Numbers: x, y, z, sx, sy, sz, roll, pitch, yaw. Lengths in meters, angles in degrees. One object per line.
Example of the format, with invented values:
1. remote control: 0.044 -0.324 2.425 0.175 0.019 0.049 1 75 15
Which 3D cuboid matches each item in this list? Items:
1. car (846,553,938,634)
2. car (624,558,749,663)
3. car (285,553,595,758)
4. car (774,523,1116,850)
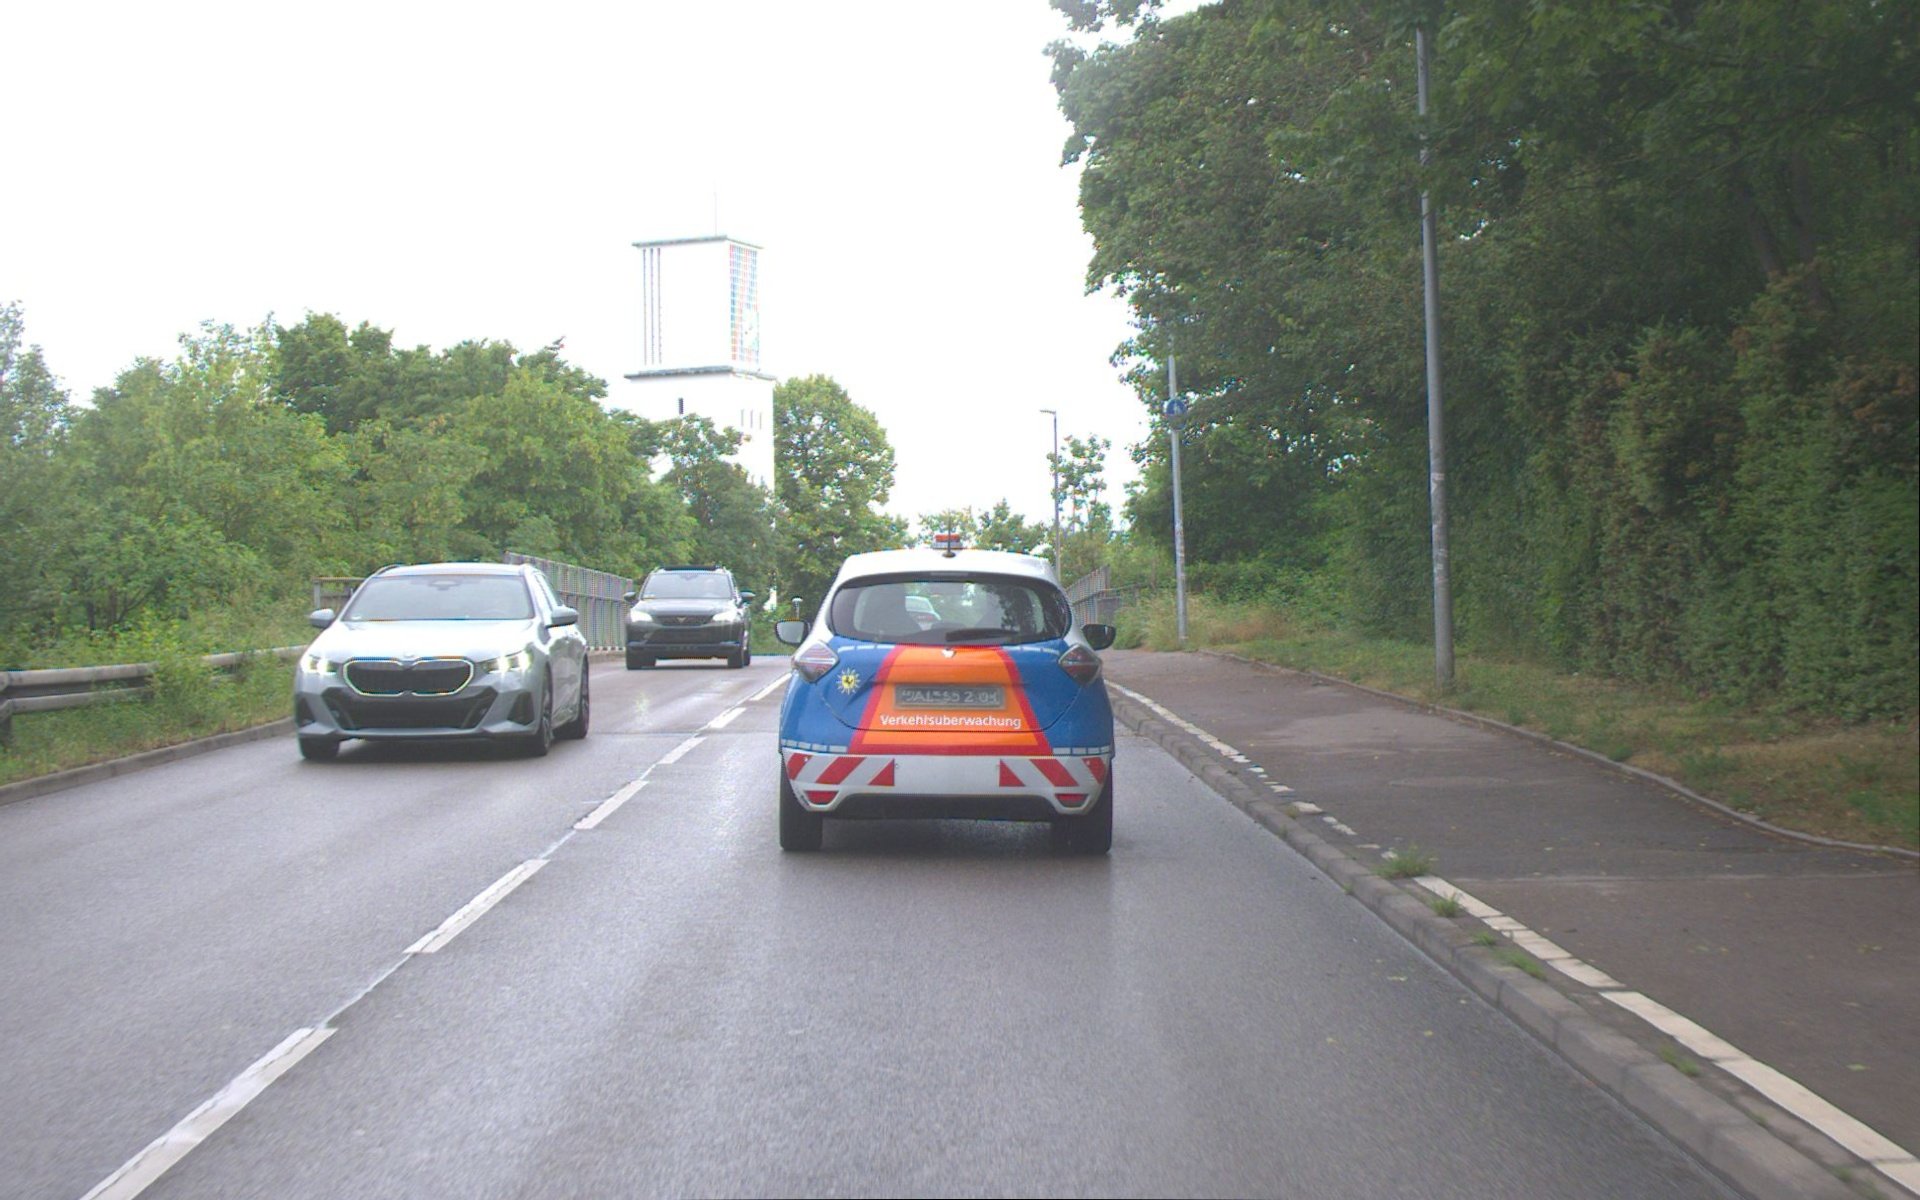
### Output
1. car: -1.406 -0.145 71.101 1.802 1.584 3.563 -2 0 -1
2. car: -4.310 0.139 54.676 1.730 1.580 4.081 0 1 -1
3. car: -4.095 0.380 27.791 1.861 1.498 4.728 0 1 -1
4. car: -0.095 0.428 18.616 1.657 1.587 3.568 0 0 -1
